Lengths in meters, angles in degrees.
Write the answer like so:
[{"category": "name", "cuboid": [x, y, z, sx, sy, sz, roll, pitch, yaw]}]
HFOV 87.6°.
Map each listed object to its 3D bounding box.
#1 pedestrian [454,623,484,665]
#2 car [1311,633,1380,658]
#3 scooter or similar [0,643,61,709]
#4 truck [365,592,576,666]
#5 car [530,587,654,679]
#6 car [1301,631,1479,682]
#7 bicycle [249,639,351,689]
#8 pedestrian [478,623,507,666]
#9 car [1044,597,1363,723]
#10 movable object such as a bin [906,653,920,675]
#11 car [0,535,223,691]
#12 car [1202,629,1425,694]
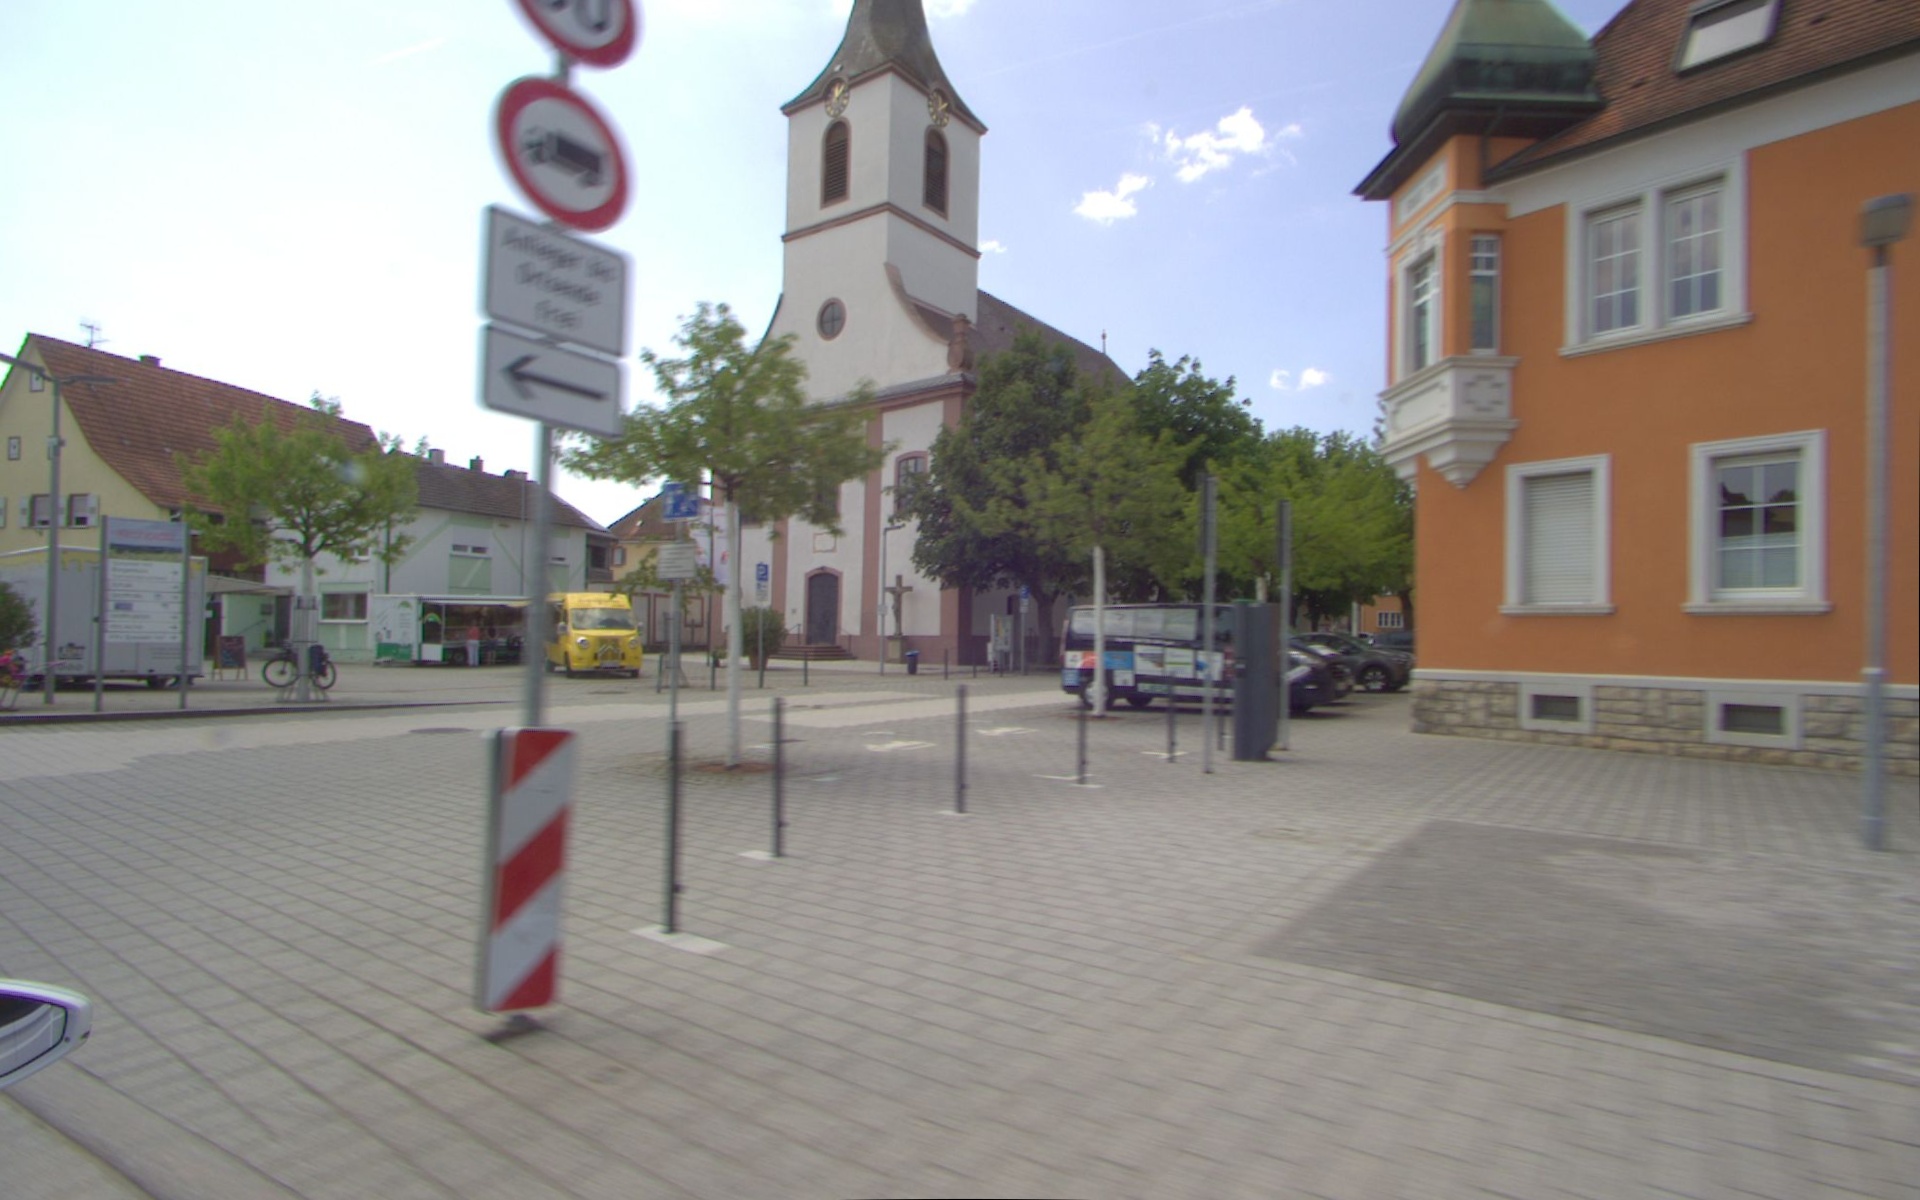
[{"category": "pedestrian", "cuboid": [-17.455, 1.564, 35.622, 0.749, 1.461, 0.643, 0, -1, 25]}, {"category": "car", "cuboid": [25.802, 3.029, 67.063, 3.946, 1.523, 1.989, 0, -2, 35]}, {"category": "scooter or similar", "cuboid": [-13.634, 1.064, 14.162, 0.802, 0.892, 1.142, 0, -2, 24]}, {"category": "truck", "cuboid": [-18.284, 1.129, 37.908, 2.910, 2.529, 6.804, 0, -2, 26]}, {"category": "car", "cuboid": [-11.523, 1.014, 30.982, 2.615, 2.509, 6.933, 2, -2, -28]}, {"category": "car", "cuboid": [14.993, 1.945, 35.086, 5.424, 1.592, 1.988, 0, -2, 37]}, {"category": "bicycle", "cuboid": [-15.244, 1.457, 23.143, 2.072, 1.082, 0.756, 1, -1, 15]}, {"category": "pedestrian", "cuboid": [-17.030, 1.614, 36.478, 0.802, 1.560, 0.559, 0, -1, 27]}, {"category": "car", "cuboid": [4.392, 1.023, 18.604, 5.424, 2.039, 1.988, 0, -2, 37]}, {"category": "movable object such as a bin", "cuboid": [-1.576, 2.132, 33.303, 0.359, 0.708, 0.293, 0, -1, 24]}, {"category": "car", "cuboid": [-19.627, 0.373, 22.310, 7.013, 2.999, 2.749, -1, -3, 33]}, {"category": "car", "cuboid": [9.000, 1.509, 25.695, 5.059, 1.459, 1.988, 0, -2, 37]}]
